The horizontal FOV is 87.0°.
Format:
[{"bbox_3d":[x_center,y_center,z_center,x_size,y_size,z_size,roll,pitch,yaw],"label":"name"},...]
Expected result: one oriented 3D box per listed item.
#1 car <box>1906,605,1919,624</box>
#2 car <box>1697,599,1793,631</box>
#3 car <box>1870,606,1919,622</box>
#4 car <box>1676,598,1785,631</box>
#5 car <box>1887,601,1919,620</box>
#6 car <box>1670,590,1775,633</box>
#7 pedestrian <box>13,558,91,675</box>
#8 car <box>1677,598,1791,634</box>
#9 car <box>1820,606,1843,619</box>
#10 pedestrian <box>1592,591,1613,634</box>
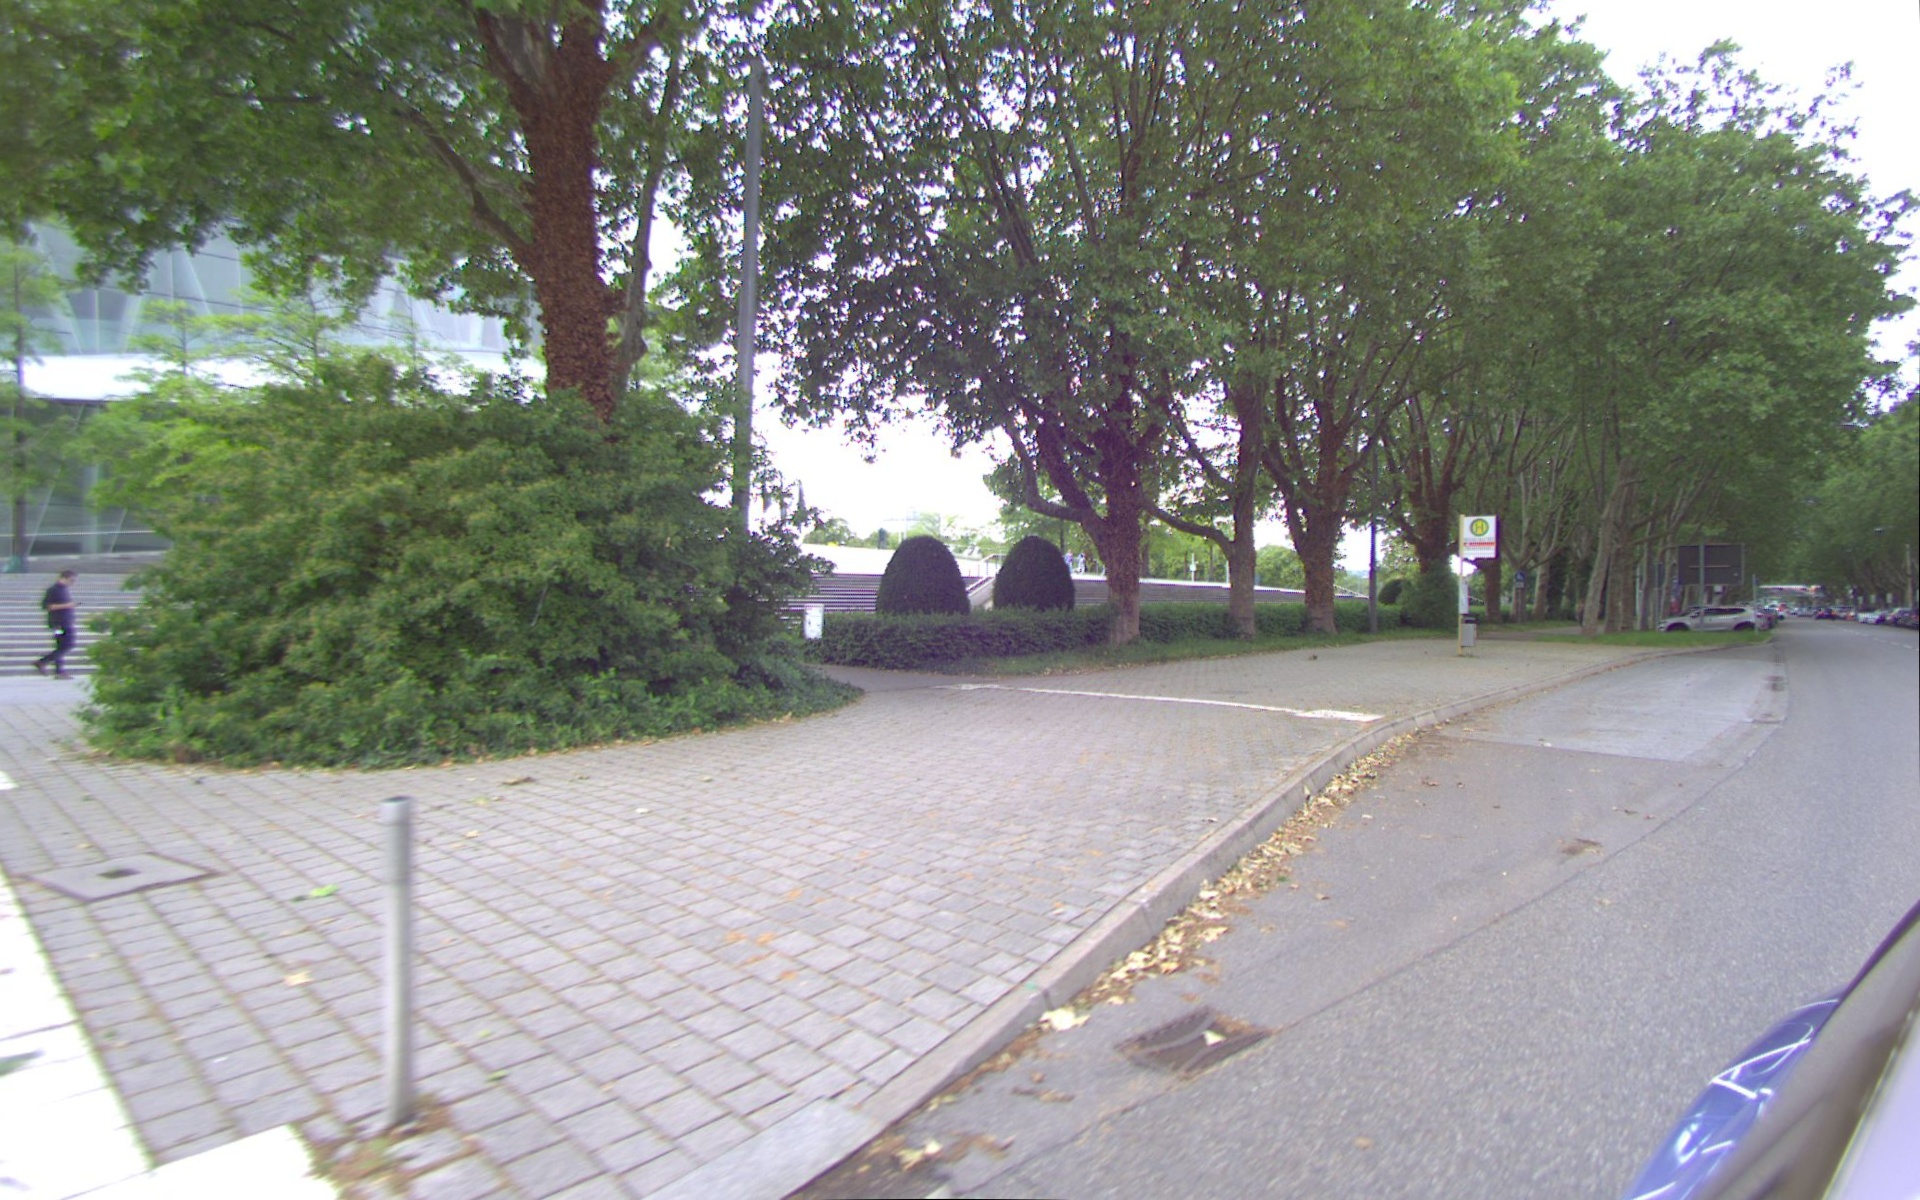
[{"bbox_3d":[84.451,1.245,87.369,3.983,1.703,1.828,-1,-1,41],"label":"car"},{"bbox_3d":[45.657,0.854,58.928,4.338,1.783,1.898,0,0,39],"label":"car"},{"bbox_3d":[94.205,1.380,101.382,4.401,1.442,1.751,2,1,39],"label":"car"},{"bbox_3d":[39.311,0.750,51.692,4.340,1.626,1.897,-2,-2,41],"label":"car"},{"bbox_3d":[76.857,0.881,80.874,3.987,1.438,1.679,2,1,39],"label":"car"},{"bbox_3d":[37.399,0.600,49.688,3.982,2.040,1.970,-2,-2,41],"label":"car"},{"bbox_3d":[-14.642,0.257,16.338,0.703,1.845,0.623,-1,-1,2],"label":"pedestrian"},{"bbox_3d":[37.844,0.810,49.545,4.340,1.654,1.897,-2,-2,41],"label":"car"},{"bbox_3d":[102.067,1.441,118.534,1.838,1.529,3.960,-1,0,38],"label":"car"},{"bbox_3d":[31.271,0.604,49.264,0.778,2.039,0.594,-1,-1,24],"label":"pedestrian"}]
